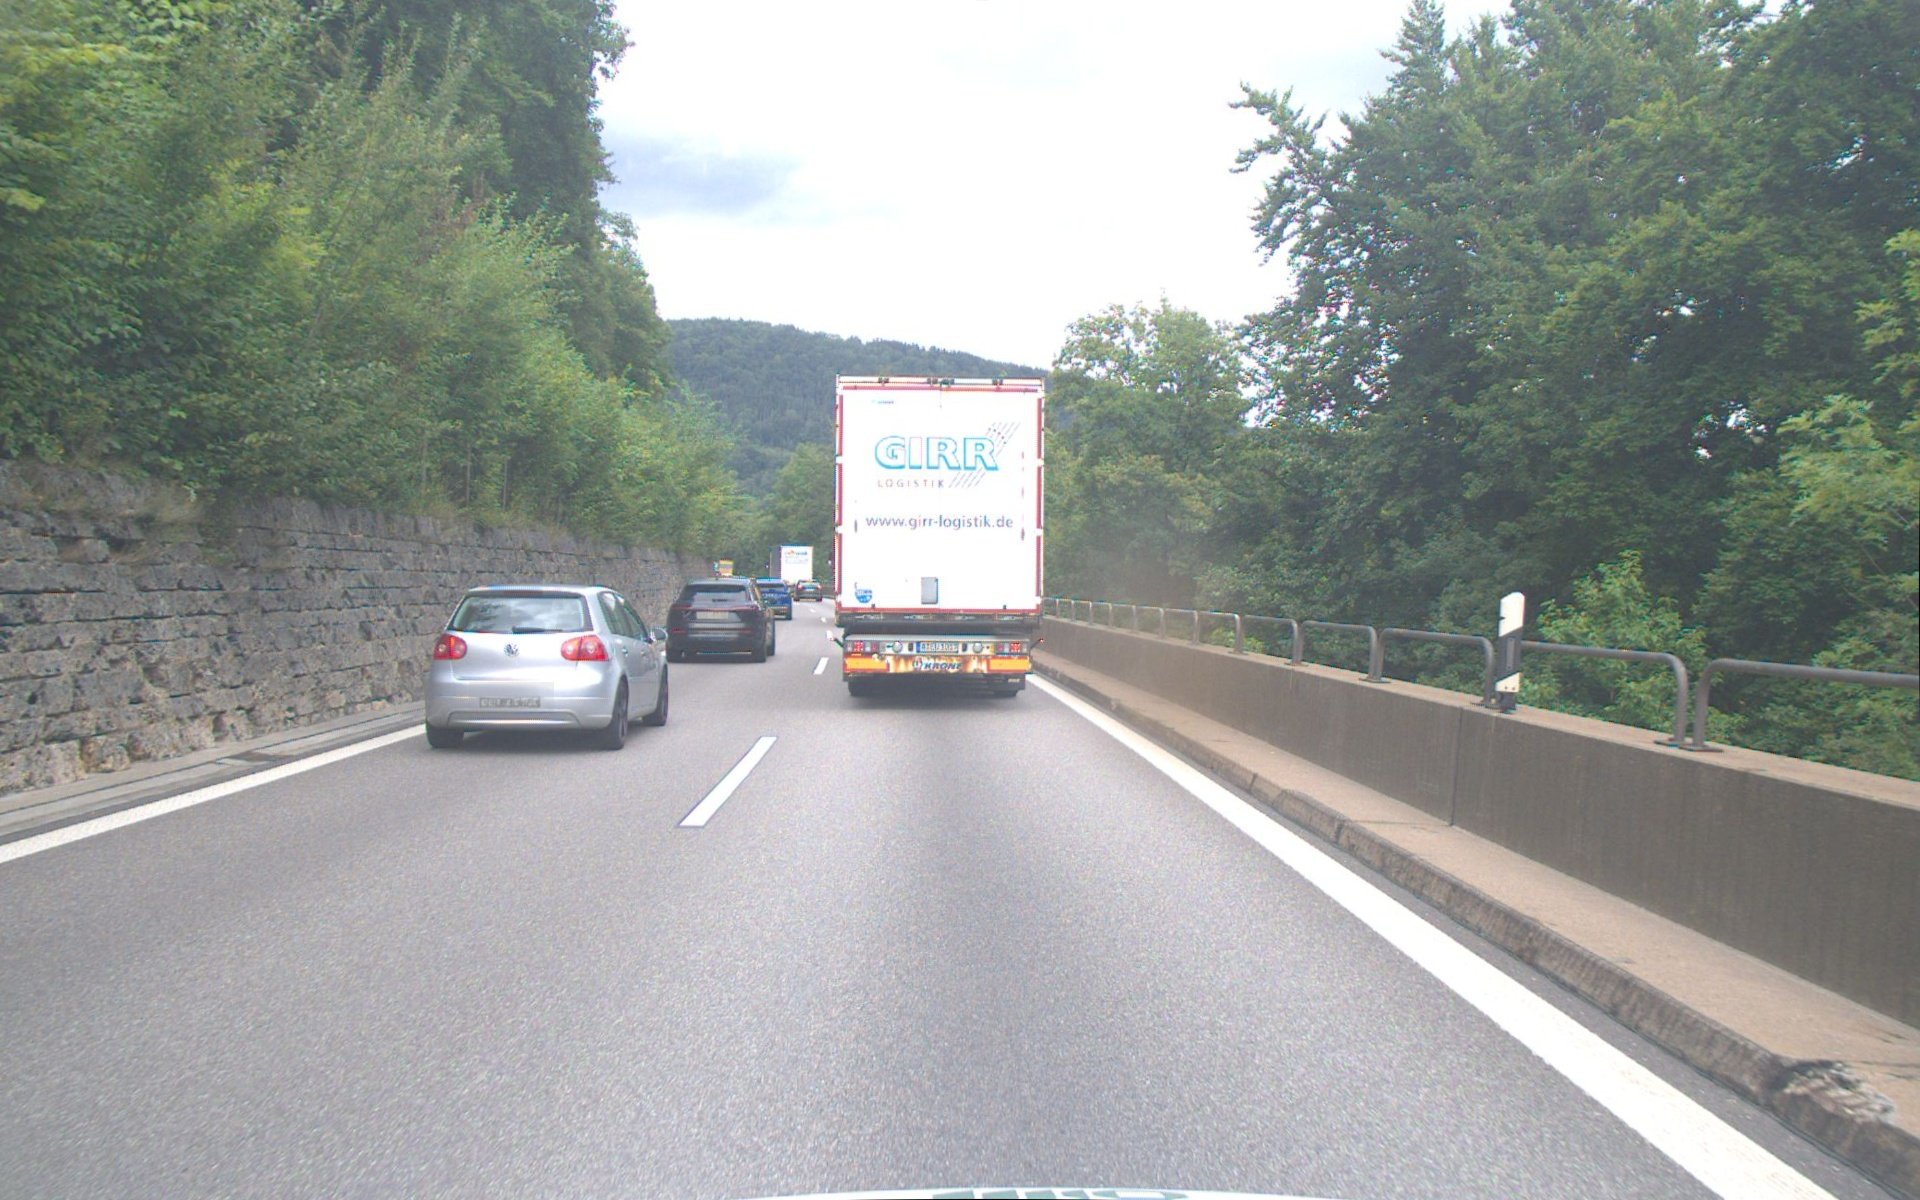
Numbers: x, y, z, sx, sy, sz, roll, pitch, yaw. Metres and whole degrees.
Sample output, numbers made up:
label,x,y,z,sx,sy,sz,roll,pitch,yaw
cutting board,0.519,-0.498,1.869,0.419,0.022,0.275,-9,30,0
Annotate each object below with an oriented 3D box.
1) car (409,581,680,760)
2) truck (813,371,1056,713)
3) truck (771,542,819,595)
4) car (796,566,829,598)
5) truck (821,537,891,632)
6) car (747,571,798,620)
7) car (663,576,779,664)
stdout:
label,x,y,z,sx,sy,sz,roll,pitch,yaw
car,-3.851,0.588,15.986,1.694,1.512,3.999,0,0,-2
truck,-0.460,-0.719,24.257,2.850,4.030,9.275,0,0,-2
truck,-13.323,-2.451,132.870,3.445,3.914,11.756,1,0,-8
car,-9.928,-1.172,111.488,1.953,2.049,3.998,1,0,-2
truck,-4.219,-0.624,68.718,2.435,3.634,9.307,0,0,-1
car,-7.585,-0.180,66.850,1.955,1.881,3.995,1,0,-6
car,-4.687,0.369,32.964,1.878,1.622,4.177,0,0,-3
